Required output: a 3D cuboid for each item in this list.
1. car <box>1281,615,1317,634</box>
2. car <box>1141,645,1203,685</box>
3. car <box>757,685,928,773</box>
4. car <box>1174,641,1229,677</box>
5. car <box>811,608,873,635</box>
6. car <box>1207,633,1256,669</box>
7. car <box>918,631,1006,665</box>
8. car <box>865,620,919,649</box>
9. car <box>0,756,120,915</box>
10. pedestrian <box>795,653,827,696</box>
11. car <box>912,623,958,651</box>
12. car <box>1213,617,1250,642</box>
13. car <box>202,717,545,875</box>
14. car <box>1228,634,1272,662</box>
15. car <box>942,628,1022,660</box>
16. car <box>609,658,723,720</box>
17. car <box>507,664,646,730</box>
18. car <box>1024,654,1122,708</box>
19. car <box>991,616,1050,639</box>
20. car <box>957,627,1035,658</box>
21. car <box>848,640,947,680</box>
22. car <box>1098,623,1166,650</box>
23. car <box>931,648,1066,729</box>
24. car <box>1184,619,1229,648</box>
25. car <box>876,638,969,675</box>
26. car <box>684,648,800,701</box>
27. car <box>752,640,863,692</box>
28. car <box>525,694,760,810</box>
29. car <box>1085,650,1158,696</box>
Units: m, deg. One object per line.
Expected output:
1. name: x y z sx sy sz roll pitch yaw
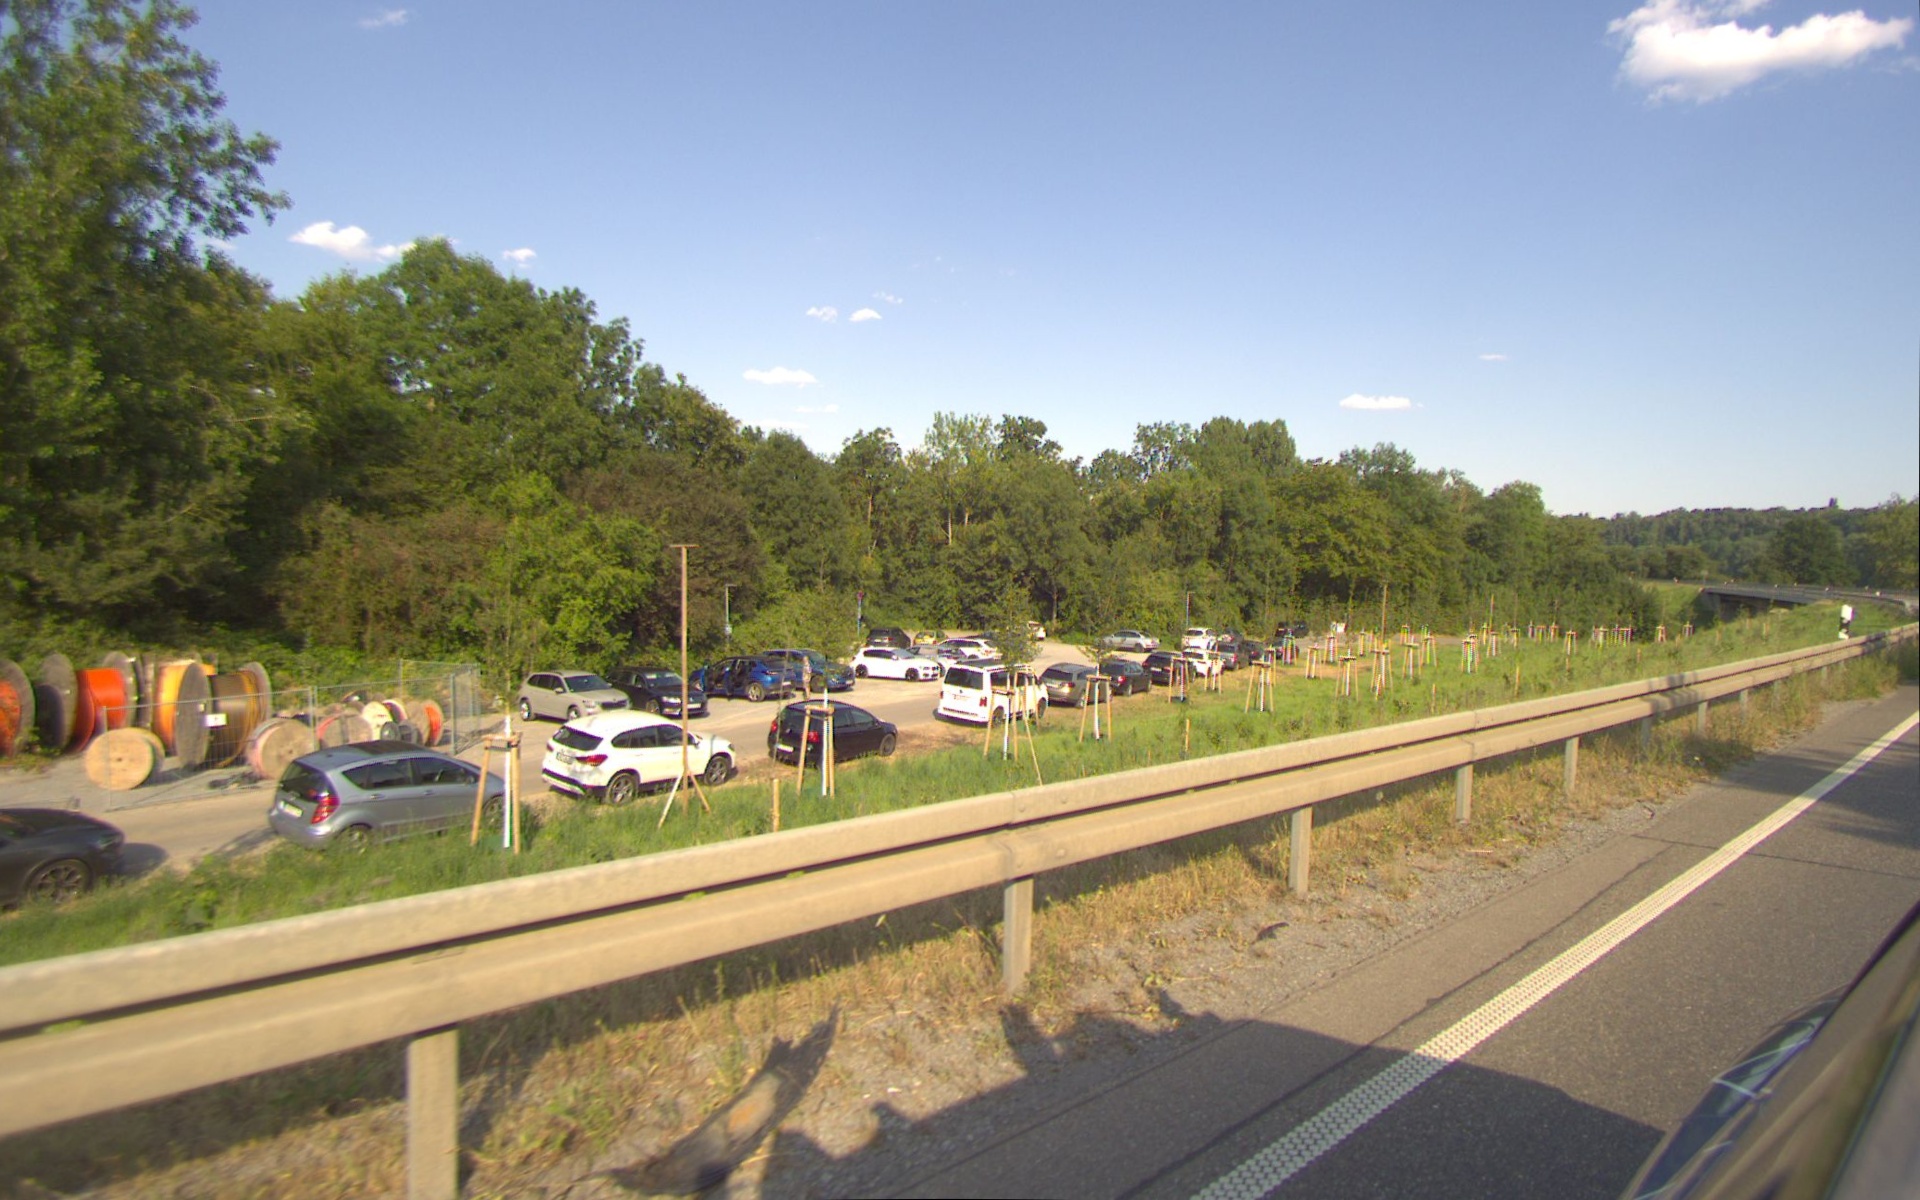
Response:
1. car: 32.167 2.336 96.169 1.625 1.515 3.692 1 2 -10
2. car: 10.272 3.066 48.782 1.807 1.500 4.353 4 2 27
3. car: -2.936 3.264 26.430 1.884 1.500 4.729 6 3 31
4. car: 12.693 3.038 53.081 1.807 1.500 4.216 4 2 27
5. car: -8.502 1.526 73.123 4.206 1.473 1.603 5 2 26
6. car: 15.825 2.921 58.814 1.807 1.679 4.216 4 2 27
7. car: 0.110 2.516 53.727 4.365 1.474 1.722 2 1 23
8. car: -3.976 2.008 59.893 1.598 1.474 4.219 3 2 20
9. car: -13.709 3.173 12.549 1.887 1.578 4.723 6 3 34
10. pedestrian: -5.554 2.767 37.681 0.870 1.489 0.924 3 2 -24
11. car: -1.499 2.235 61.553 1.481 1.474 3.651 3 1 20
12. car: 20.349 2.185 75.806 1.646 1.515 4.181 2 3 29
13. car: -9.794 3.165 17.342 1.884 1.578 4.729 6 3 31
14. car: 18.129 2.975 63.193 1.807 1.418 4.216 4 2 27
15. car: 1.226 2.452 56.651 4.204 1.474 1.603 2 1 26
16. car: -9.495 2.796 32.479 1.803 1.508 4.238 0 1 -43
17. car: -11.615 2.870 30.575 4.215 1.508 1.812 1 1 33
18. car: 4.456 3.077 39.150 1.884 1.500 4.729 6 3 31
19. car: 4.549 2.013 76.075 4.225 1.474 1.689 3 1 38
20. car: 2.098 2.464 59.084 4.204 1.474 1.603 3 1 26
21. car: -2.856 2.685 45.896 4.205 1.517 1.755 1 0 27
22. car: 11.499 2.403 67.740 4.215 1.474 1.599 4 2 32
23. car: 1.399 2.860 34.012 2.110 2.042 5.319 6 3 31
24. car: 17.283 2.307 70.924 1.648 1.687 4.655 2 3 32
25. car: -1.786 2.675 48.255 4.204 1.474 1.603 1 1 26
26. car: -8.160 2.741 37.823 4.213 1.624 1.813 1 1 32
27. car: -6.181 2.636 41.061 4.205 1.764 1.816 1 0 27
28. car: -6.698 3.147 21.896 1.884 1.578 4.729 6 3 31
29. car: 7.056 3.110 43.766 1.807 1.500 4.353 4 2 27
